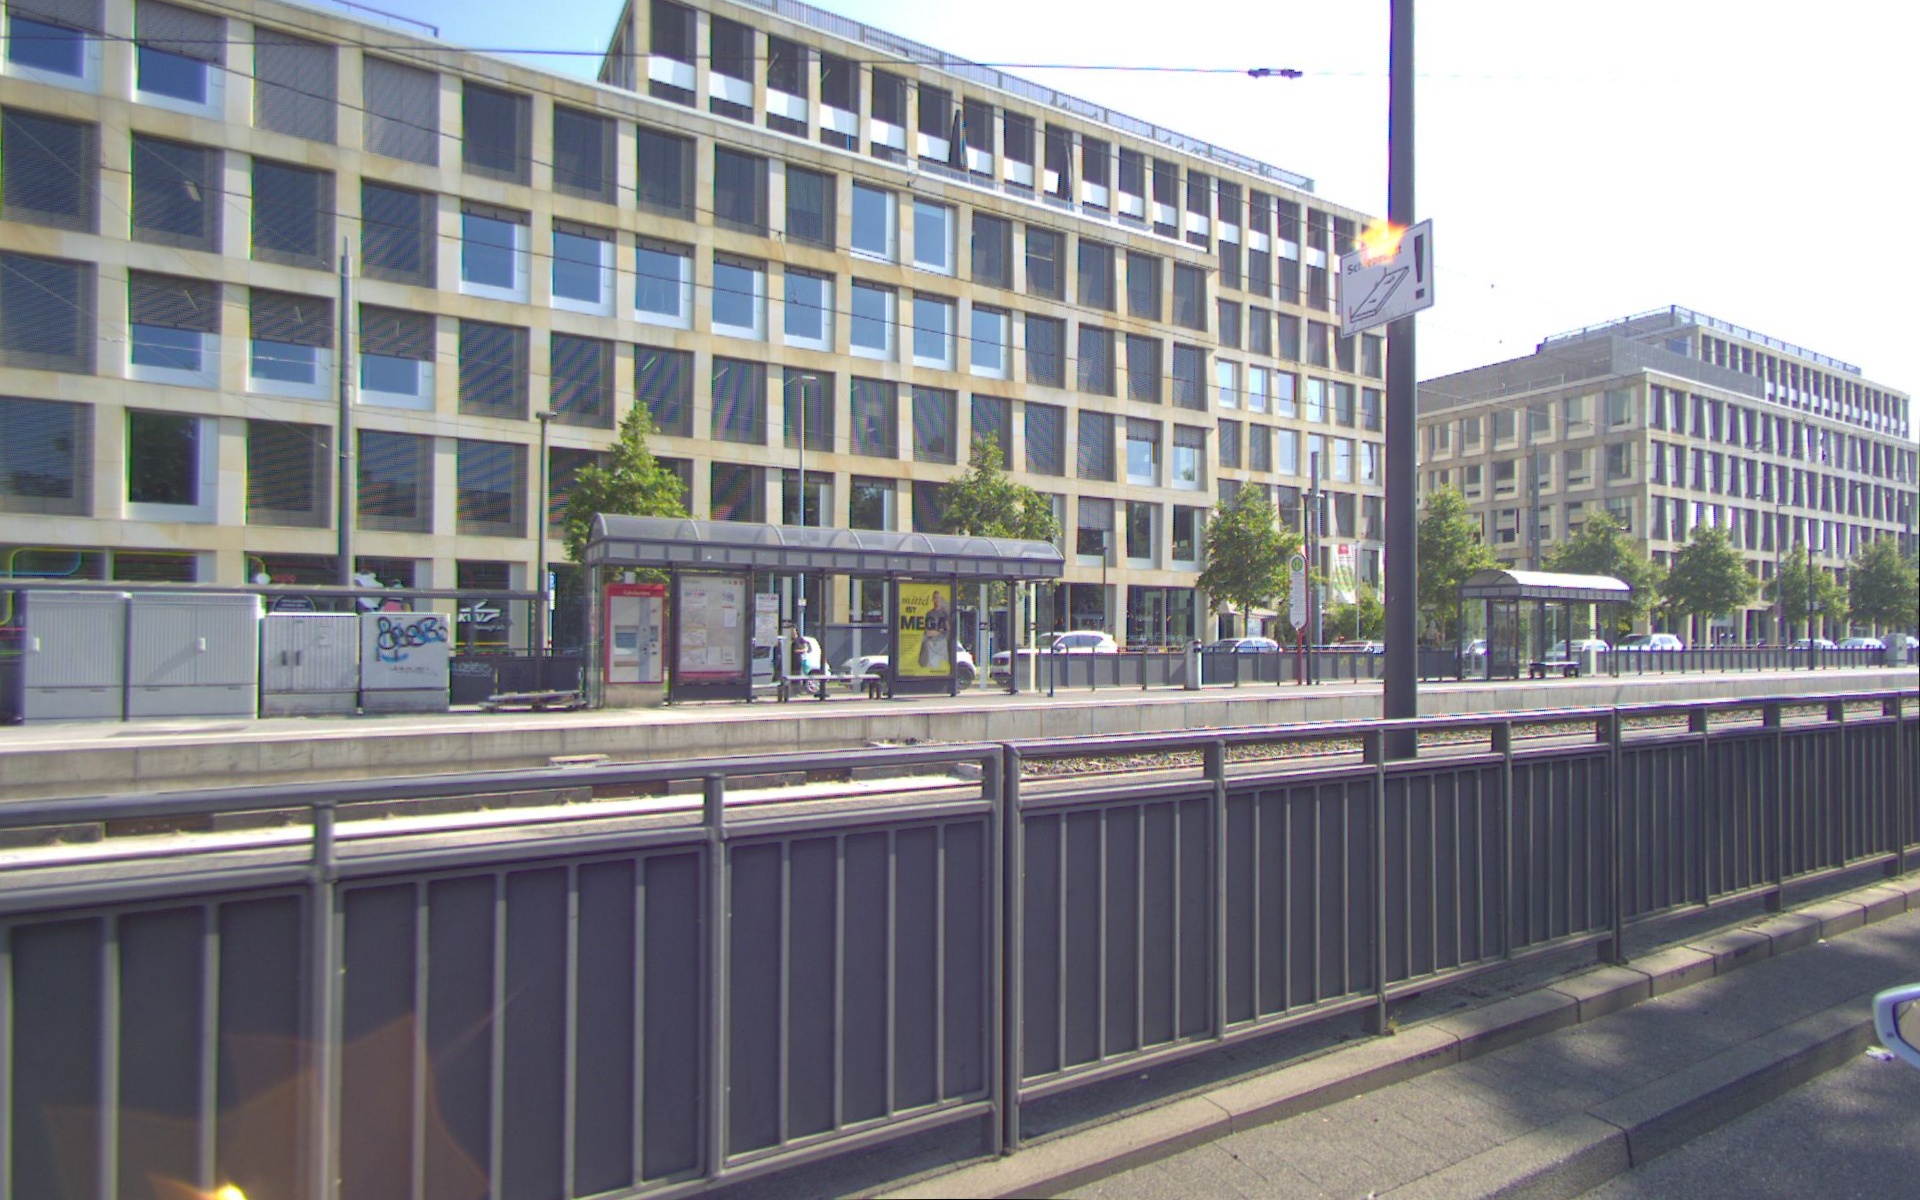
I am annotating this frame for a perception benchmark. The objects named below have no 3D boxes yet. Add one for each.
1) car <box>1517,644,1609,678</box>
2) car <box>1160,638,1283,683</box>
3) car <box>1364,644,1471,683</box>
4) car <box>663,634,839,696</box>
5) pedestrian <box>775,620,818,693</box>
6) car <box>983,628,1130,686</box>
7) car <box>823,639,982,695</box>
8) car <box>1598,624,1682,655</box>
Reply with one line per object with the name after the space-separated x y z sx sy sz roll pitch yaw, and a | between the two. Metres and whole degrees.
26.684 2.654 44.432 4.324 1.426 1.675 1 -3 -31 | car
8.771 1.984 33.653 3.955 1.426 1.781 1 -3 -31 | car
17.866 2.440 39.195 4.324 1.426 1.675 1 -3 -31 | car
-5.234 1.587 25.262 3.955 1.422 1.892 1 -3 -31 | car
-3.885 1.332 23.861 0.867 1.698 0.835 1 -2 -21 | pedestrian
2.949 1.681 30.303 4.273 1.647 1.780 1 -3 -33 | car
-1.552 1.782 27.453 3.955 1.422 1.892 1 -3 -31 | car
32.418 1.873 47.831 4.321 1.426 1.675 1 -3 -31 | car
